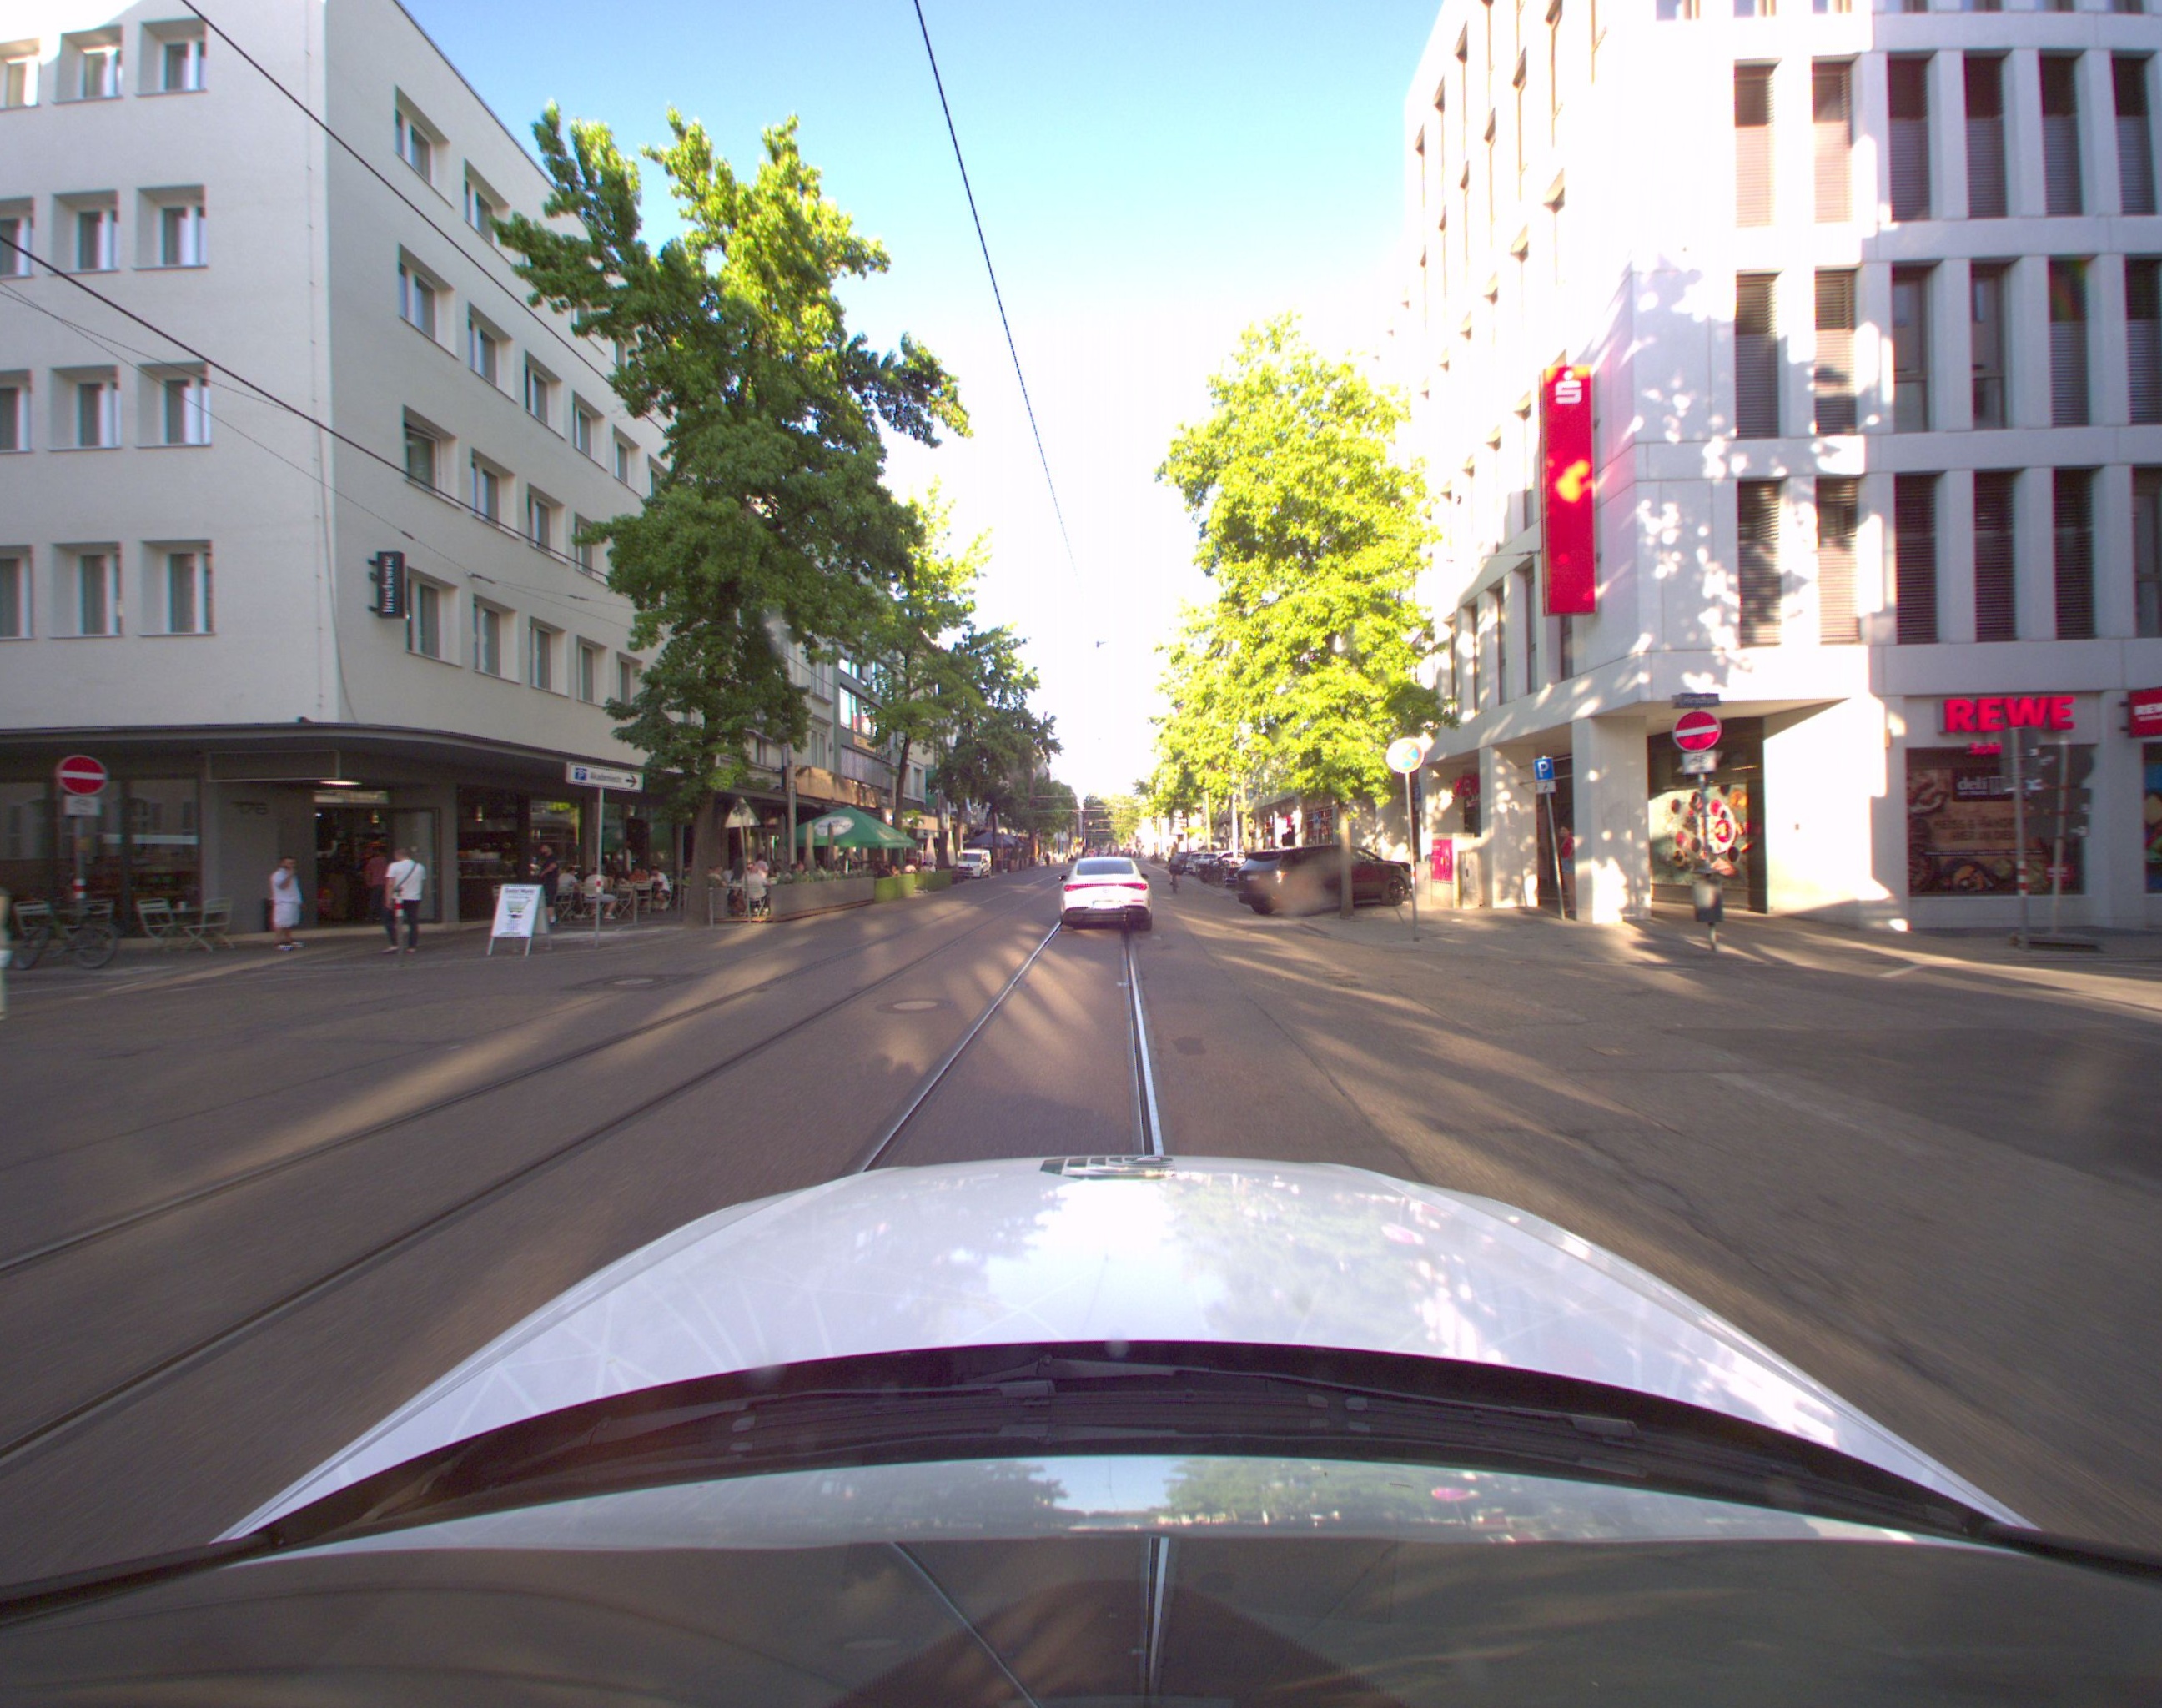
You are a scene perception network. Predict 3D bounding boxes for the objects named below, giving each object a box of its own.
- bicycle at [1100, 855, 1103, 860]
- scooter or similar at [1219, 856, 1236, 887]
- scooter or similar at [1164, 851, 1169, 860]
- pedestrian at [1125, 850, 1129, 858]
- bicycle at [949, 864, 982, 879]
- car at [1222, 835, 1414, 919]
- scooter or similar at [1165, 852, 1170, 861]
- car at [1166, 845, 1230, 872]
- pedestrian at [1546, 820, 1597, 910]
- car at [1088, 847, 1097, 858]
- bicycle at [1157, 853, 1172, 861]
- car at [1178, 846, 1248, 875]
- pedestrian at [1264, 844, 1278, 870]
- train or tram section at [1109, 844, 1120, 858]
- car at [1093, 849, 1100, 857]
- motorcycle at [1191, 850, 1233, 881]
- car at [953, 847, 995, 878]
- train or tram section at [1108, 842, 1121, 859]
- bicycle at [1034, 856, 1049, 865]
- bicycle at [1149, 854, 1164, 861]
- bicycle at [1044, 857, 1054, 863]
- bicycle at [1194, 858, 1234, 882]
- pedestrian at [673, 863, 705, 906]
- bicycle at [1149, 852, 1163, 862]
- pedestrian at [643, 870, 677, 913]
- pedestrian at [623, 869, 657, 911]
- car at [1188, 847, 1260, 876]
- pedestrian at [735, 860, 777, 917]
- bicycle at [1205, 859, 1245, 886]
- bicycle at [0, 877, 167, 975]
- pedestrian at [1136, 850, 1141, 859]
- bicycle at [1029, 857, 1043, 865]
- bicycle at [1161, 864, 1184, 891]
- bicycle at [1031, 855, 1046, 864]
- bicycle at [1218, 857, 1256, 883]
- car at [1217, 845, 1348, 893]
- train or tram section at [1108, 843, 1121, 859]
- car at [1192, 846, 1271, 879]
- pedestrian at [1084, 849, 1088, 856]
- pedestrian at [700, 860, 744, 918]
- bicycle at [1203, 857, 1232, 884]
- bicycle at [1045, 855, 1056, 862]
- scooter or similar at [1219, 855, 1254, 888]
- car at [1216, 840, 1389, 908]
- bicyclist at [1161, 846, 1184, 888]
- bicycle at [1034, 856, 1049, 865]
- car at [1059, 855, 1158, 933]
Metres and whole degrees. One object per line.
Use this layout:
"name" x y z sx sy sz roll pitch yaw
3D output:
"bicycle" 4.597 0.735 184.418 0.797 1.142 2.258 1 0 1
"scooter or similar" 6.428 0.766 35.872 0.449 1.276 1.307 -5 0 2
"scooter or similar" 11.769 0.179 112.014 0.527 1.277 0.658 -3 0 -9
"pedestrian" 10.067 0.004 178.540 0.957 1.785 0.804 -3 0 2
"bicycle" -7.016 1.047 49.500 0.826 0.865 1.872 1 1 41
"car" 6.217 0.550 21.299 4.678 1.763 1.977 -4 0 -27
"scooter or similar" 11.826 0.364 111.291 0.491 1.277 0.658 -3 0 -9
"car" 8.334 0.332 57.914 4.369 1.652 1.679 -3 0 -29
"pedestrian" 10.260 0.234 17.036 0.746 1.818 0.808 -4 -2 35
"car" 3.237 -0.369 228.273 1.985 2.897 5.279 -1 0 3
"bicycle" 12.196 0.454 118.978 2.114 1.096 0.607 -2 0 -11
"car" 8.708 0.428 53.820 4.261 1.587 1.867 -3 0 -29
"pedestrian" 12.488 0.200 53.571 0.711 1.624 0.883 -3 0 4
"train or tram section" 8.375 -0.721 201.838 2.684 3.516 11.150 -1 0 3
"car" 4.766 -0.367 246.866 1.902 2.461 5.279 -1 0 3
"motorcycle" 6.967 0.603 43.184 2.332 1.509 0.849 -3 -1 -41
"car" -6.899 0.538 52.826 1.788 1.864 4.558 1 0 3
"train or tram section" 7.245 -0.659 177.453 2.684 3.516 12.553 -1 0 3
"bicycle" -4.955 0.783 101.179 1.841 1.077 0.377 0 0 -2
"bicycle" 11.119 0.504 119.683 2.113 1.096 0.608 -1 -1 -9
"bicycle" -4.574 0.852 117.141 1.486 0.783 0.345 0 0 3
"bicycle" 6.803 0.822 41.620 1.901 1.119 0.661 -3 -1 -27
"pedestrian" -11.989 0.930 24.913 0.599 1.298 0.687 1 0 3
"bicycle" 10.741 0.403 116.708 1.908 1.281 0.608 -3 0 -9
"pedestrian" -11.724 1.026 22.698 0.550 1.161 0.687 1 0 3
"pedestrian" -12.337 0.997 22.783 0.550 1.161 0.687 1 0 3
"car" 8.964 0.468 51.032 4.162 1.499 1.677 -3 0 -22
"pedestrian" -8.096 0.844 20.312 0.686 1.386 0.807 1 0 3
"bicycle" 6.606 0.824 37.424 1.567 1.088 0.861 -5 2 -28
"bicycle" -15.293 1.078 12.428 1.866 1.380 0.713 -1 3 3
"pedestrian" 12.229 0.102 173.565 0.957 1.785 0.804 -3 0 2
"bicycle" -5.287 0.788 96.355 1.586 0.930 0.378 0 0 9
"bicycle" 3.594 0.900 31.833 0.714 0.995 2.065 1 0 11
"bicycle" -5.431 0.701 103.783 1.838 1.141 0.377 0 0 3
"bicycle" 7.532 0.782 39.361 1.697 1.106 0.627 -4 0 -24
"car" 7.880 0.568 31.691 5.081 1.469 1.956 -4 0 -34
"train or tram section" 7.830 -0.694 190.001 2.684 3.516 12.553 -1 0 3
"car" 8.569 0.483 46.345 4.174 1.571 1.836 -4 0 -31
"pedestrian" 1.148 -0.411 185.438 0.657 1.599 0.573 -1 0 1
"pedestrian" -8.913 0.857 20.227 0.686 1.386 0.807 1 0 3
"bicycle" 6.661 0.795 39.674 0.475 1.163 1.705 -5 -1 42
"bicycle" -4.451 0.711 119.280 1.491 1.029 0.344 0 0 -8
"scooter or similar" 6.659 0.755 34.907 1.311 1.276 0.559 -5 0 -29
"car" 6.620 0.547 24.382 4.670 1.655 1.994 -3 0 -22
"bicyclist" 3.583 0.494 31.750 0.772 1.613 0.915 1 0 11
"bicycle" -4.801 0.771 99.551 1.784 1.077 0.377 0 0 -2
"car" 0.599 0.751 17.372 1.850 1.455 4.177 0 0 2
